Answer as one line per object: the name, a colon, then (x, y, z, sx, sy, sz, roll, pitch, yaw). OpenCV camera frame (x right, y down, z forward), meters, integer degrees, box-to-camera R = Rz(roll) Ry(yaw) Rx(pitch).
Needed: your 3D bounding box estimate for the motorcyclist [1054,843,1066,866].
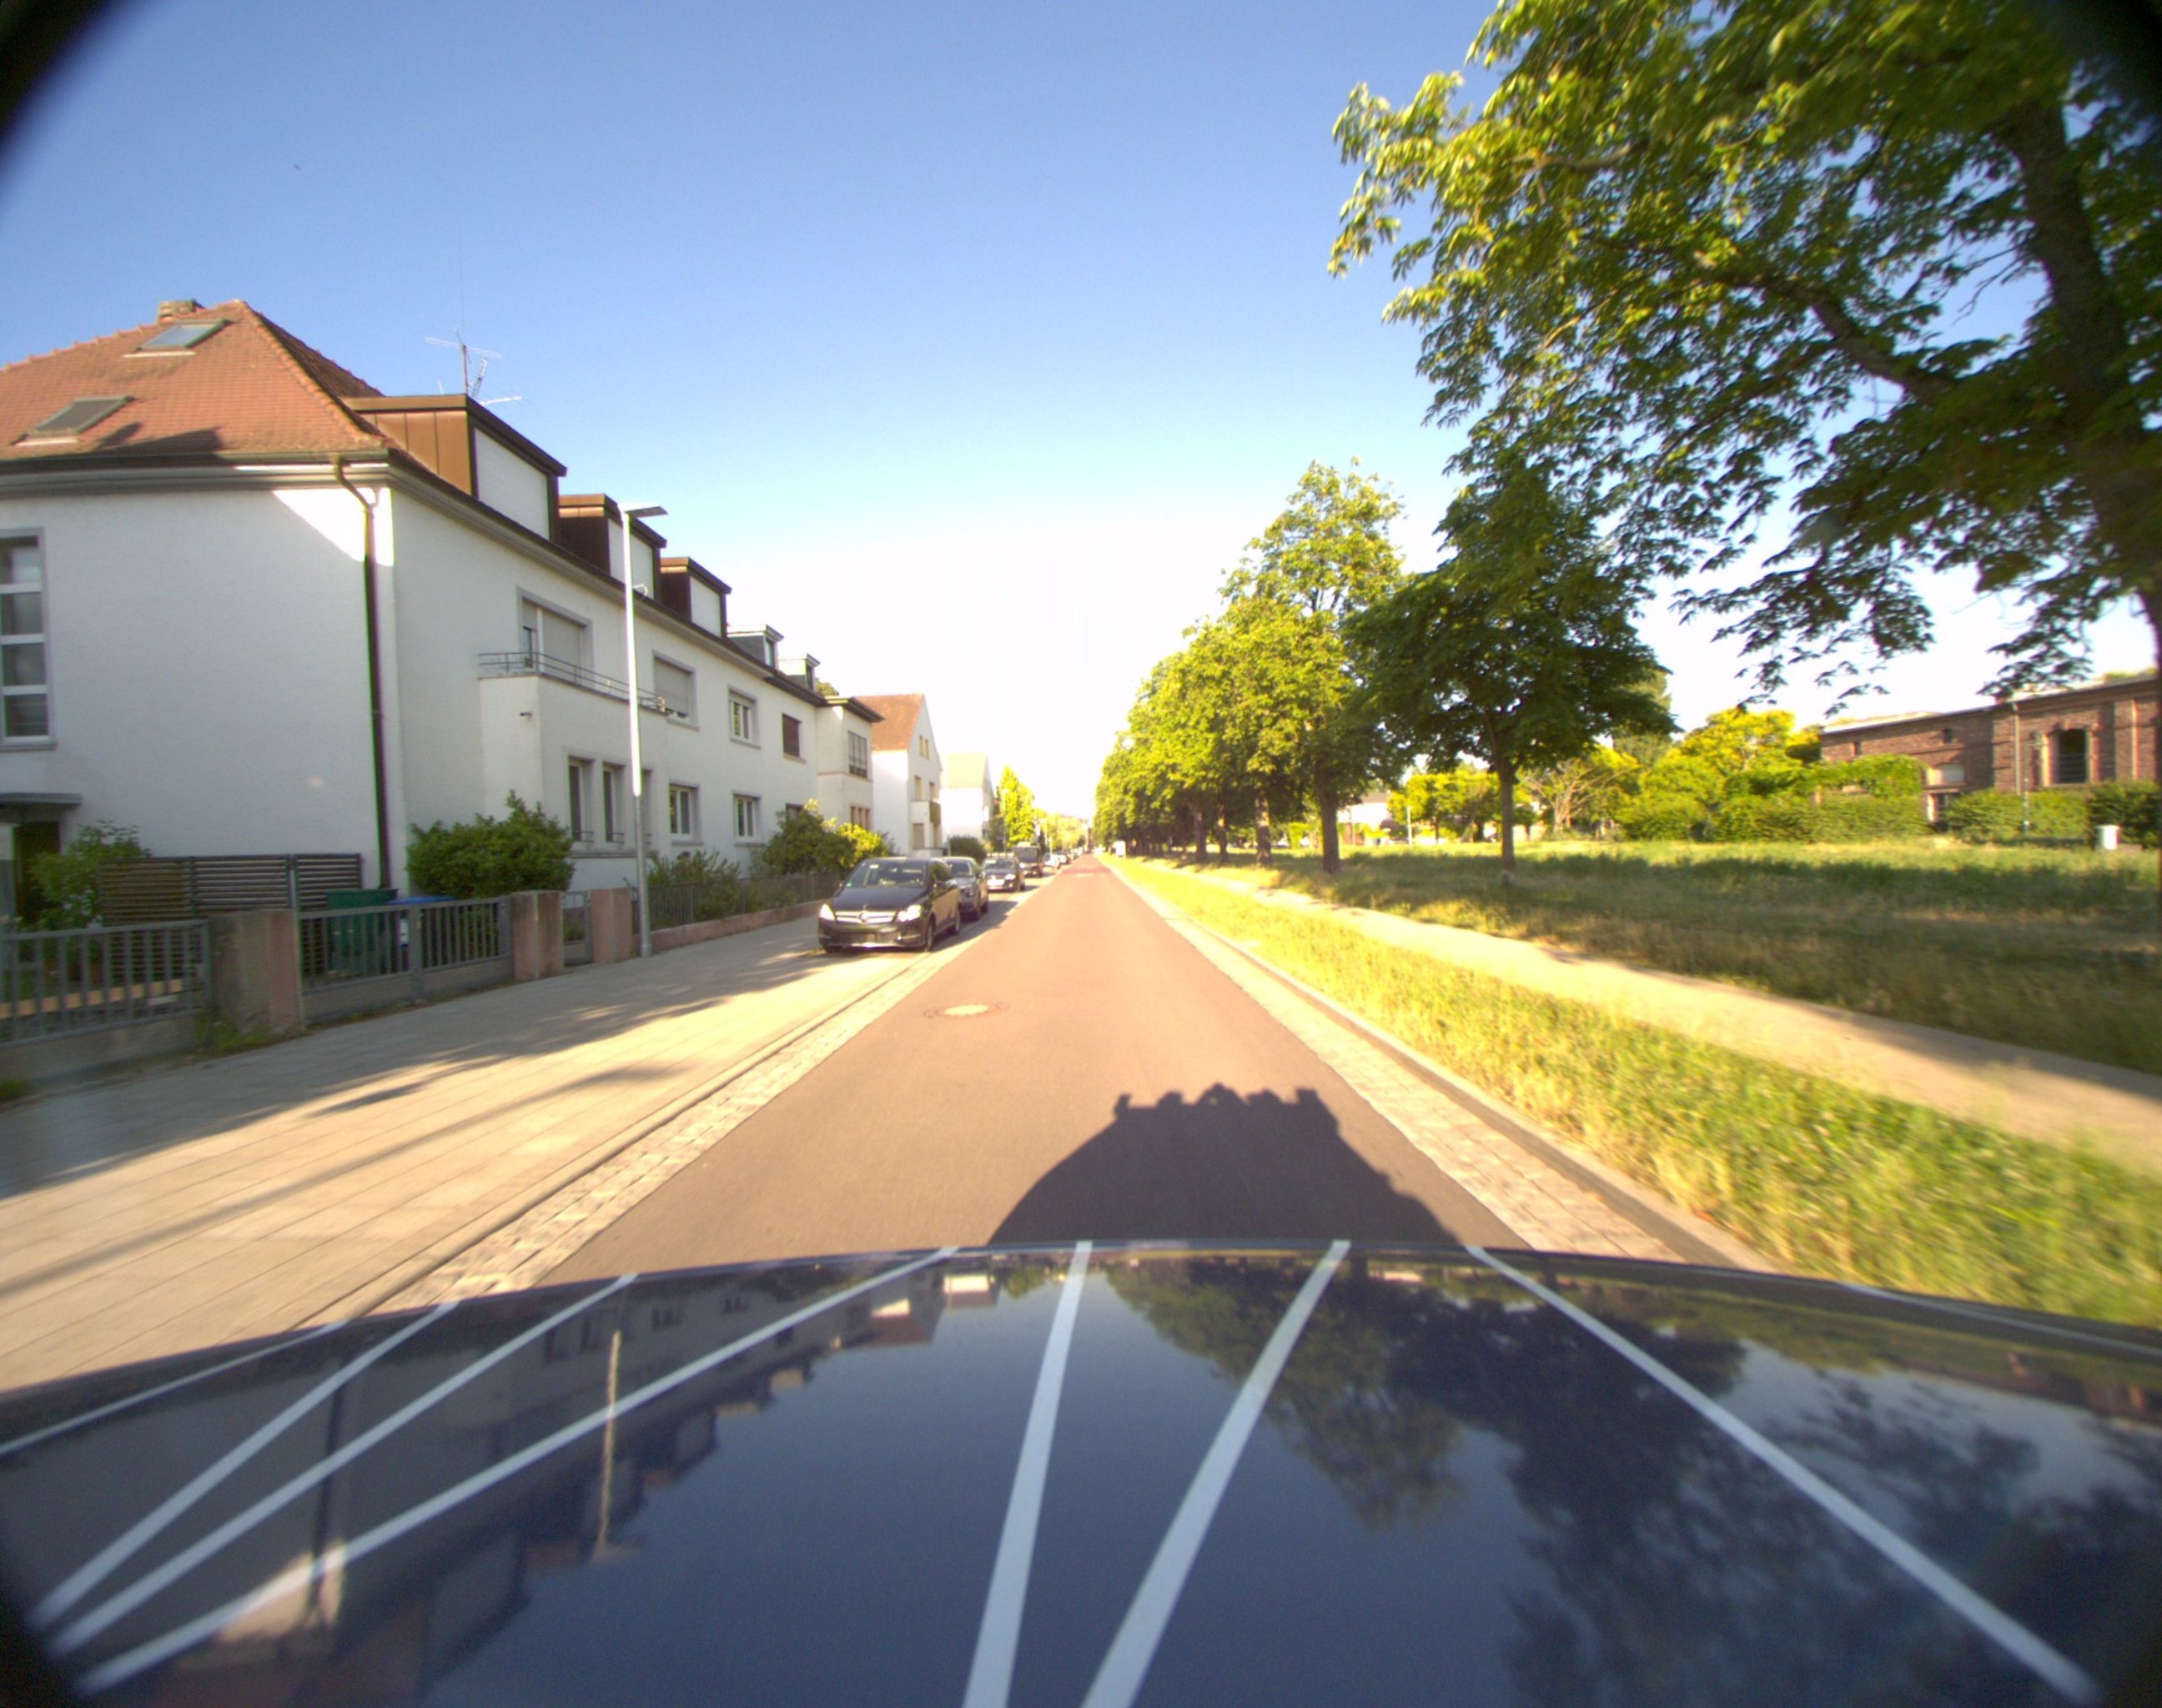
motorcyclist: (-1.858, 0.047, 67.848, 0.961, 2.002, 1.273, -3, 1, 0)

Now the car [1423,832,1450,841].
car: (58.498, -2.870, 125.201, 3.636, 1.273, 1.586, -3, 1, 2)

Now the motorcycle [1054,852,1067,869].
motorcycle: (-1.821, 0.548, 68.093, 1.077, 1.373, 2.463, -3, 1, 0)

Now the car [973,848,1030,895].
car: (-3.190, 0.653, 31.245, 1.798, 1.761, 4.472, 0, 0, 1)

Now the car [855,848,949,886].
car: (-8.879, 0.617, 37.968, 4.228, 1.716, 1.852, -1, 1, -3)

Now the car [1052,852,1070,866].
car: (-2.416, 0.587, 92.194, 1.910, 1.698, 4.576, 0, 0, 2)

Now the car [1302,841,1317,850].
car: (43.866, -1.693, 145.854, 1.766, 1.619, 4.000, -3, 0, 1)

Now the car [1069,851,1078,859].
car: (-1.388, 0.161, 145.905, 1.746, 1.471, 4.056, -3, 0, 0)

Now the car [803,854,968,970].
car: (-3.357, 0.893, 13.958, 1.837, 1.675, 4.414, 1, 1, 0)

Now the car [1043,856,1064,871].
car: (-2.793, 0.973, 77.882, 1.798, 1.474, 4.124, 0, 0, 2)

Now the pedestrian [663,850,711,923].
pedestrian: (-8.896, 0.729, 17.166, 0.595, 1.569, 0.631, -3, 2, 27)

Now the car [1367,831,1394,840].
car: (48.862, -3.062, 124.062, 3.636, 1.273, 1.586, -3, 1, 2)

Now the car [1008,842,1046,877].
car: (-3.316, 0.316, 47.664, 1.910, 2.119, 4.814, 0, 0, 2)

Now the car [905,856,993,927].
car: (-3.313, 0.873, 19.730, 1.722, 1.565, 4.208, 0, 1, -3)

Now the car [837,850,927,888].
car: (-10.522, 0.756, 40.467, 4.228, 1.716, 1.852, -3, 1, -3)
